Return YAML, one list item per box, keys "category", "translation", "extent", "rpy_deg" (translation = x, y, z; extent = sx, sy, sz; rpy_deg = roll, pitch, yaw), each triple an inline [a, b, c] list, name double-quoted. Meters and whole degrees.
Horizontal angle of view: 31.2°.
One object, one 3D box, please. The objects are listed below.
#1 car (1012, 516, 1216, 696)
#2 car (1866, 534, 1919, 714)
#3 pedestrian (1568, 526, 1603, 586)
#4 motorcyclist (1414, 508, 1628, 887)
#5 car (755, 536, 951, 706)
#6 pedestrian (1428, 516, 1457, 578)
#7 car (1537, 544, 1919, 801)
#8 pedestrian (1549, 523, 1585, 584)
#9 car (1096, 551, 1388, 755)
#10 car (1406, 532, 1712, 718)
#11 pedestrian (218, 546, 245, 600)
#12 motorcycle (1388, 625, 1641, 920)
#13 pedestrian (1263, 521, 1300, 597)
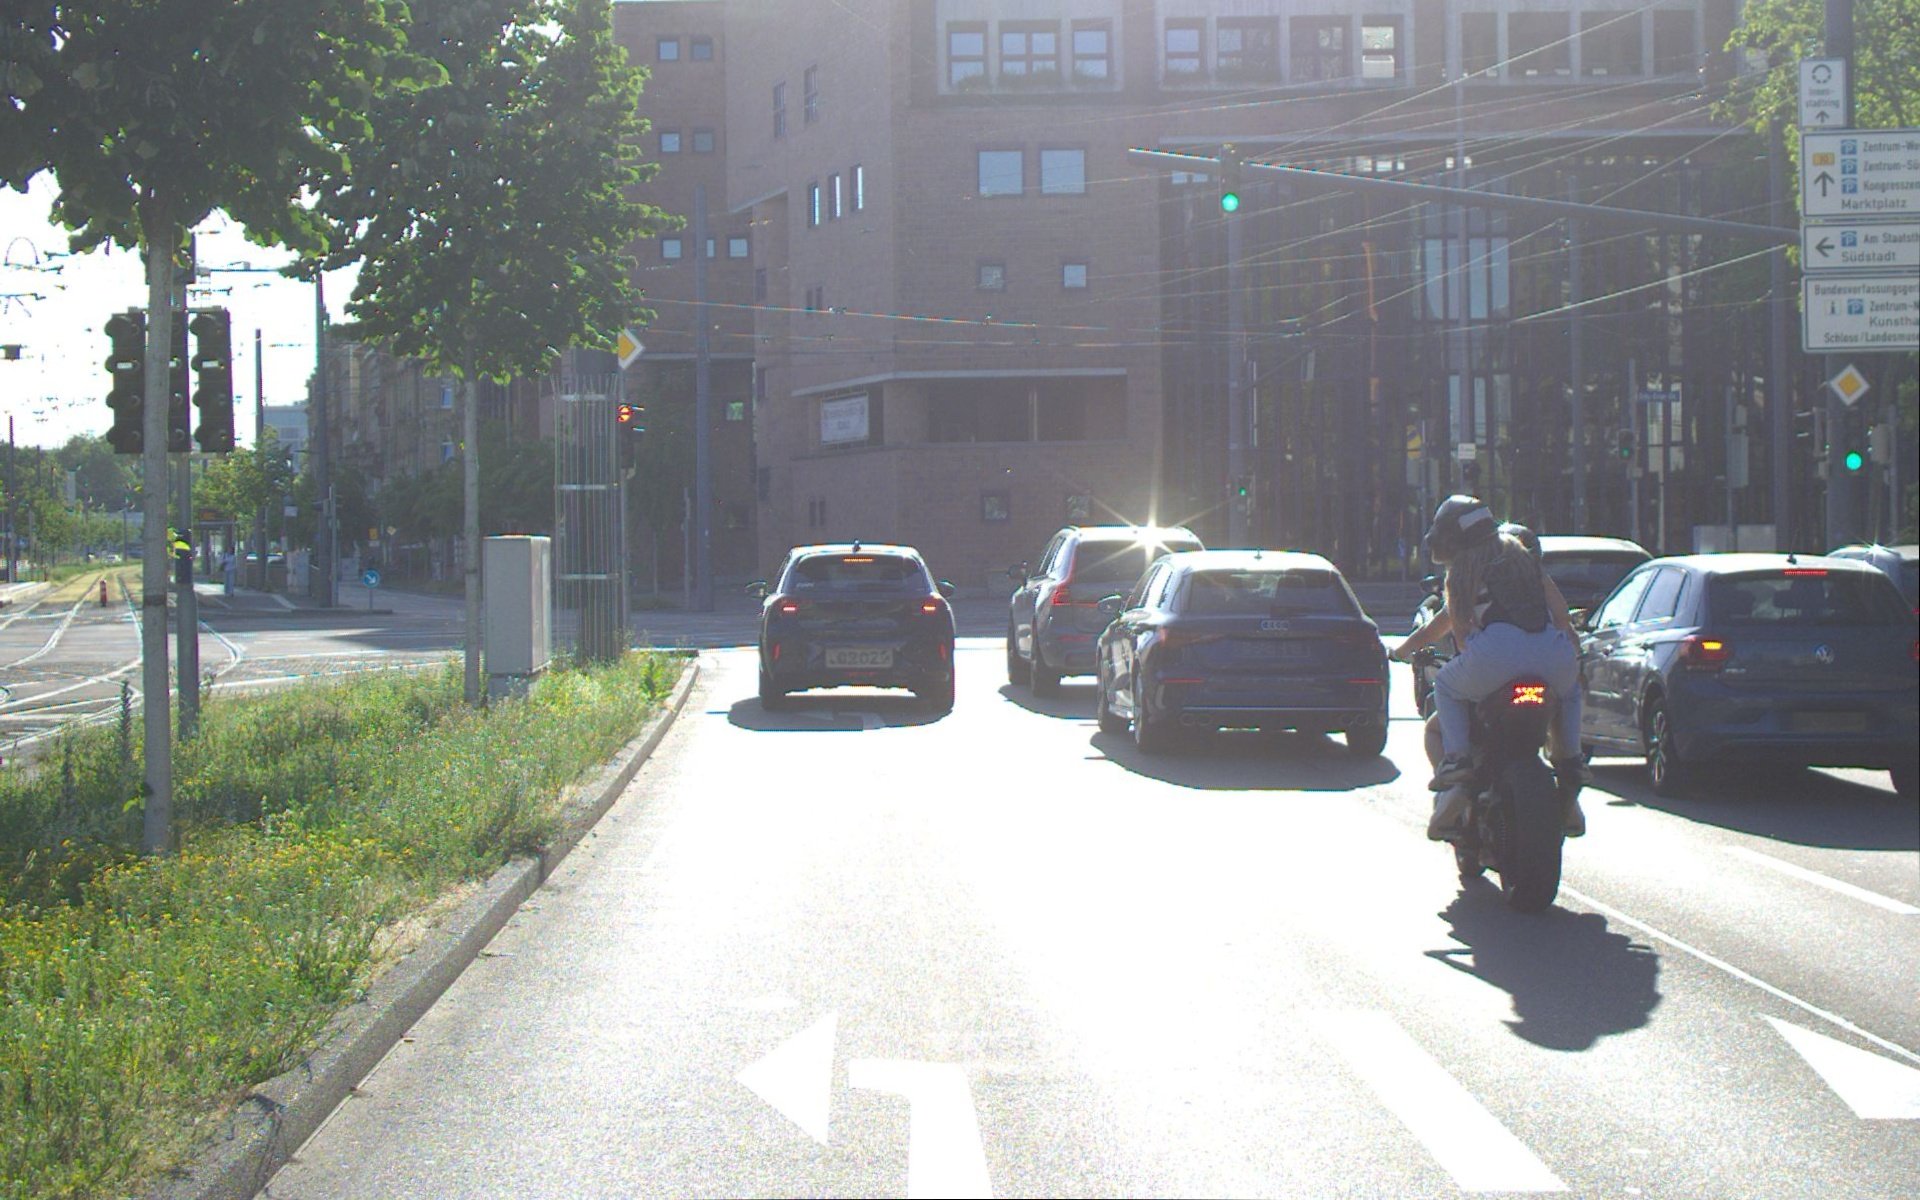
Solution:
- category: "car"
  translation: [1.459, 0.021, 33.810]
  extent: [1.737, 1.645, 4.000]
  rpy_deg: [-1, 1, -1]
- category: "car"
  translation: [9.845, 0.212, 31.792]
  extent: [1.993, 1.645, 4.000]
  rpy_deg: [-1, 1, 2]
- category: "pedestrian"
  translation: [17.003, -1.206, 93.477]
  extent: [0.900, 1.611, 0.560]
  rpy_deg: [-1, 1, 7]
- category: "motorcyclist"
  translation: [2.336, 0.383, 14.403]
  extent: [0.745, 1.525, 1.021]
  rpy_deg: [-1, 1, 2]
- category: "car"
  translation: [-0.946, 0.145, 31.244]
  extent: [1.649, 1.428, 4.000]
  rpy_deg: [-1, 1, -1]
- category: "pedestrian"
  translation: [11.032, -1.215, 78.630]
  extent: [0.529, 1.425, 0.598]
  rpy_deg: [-1, 1, -2]
- category: "car"
  translation: [4.947, 0.385, 21.809]
  extent: [1.807, 1.452, 4.000]
  rpy_deg: [0, 1, -1]
- category: "pedestrian"
  translation: [16.295, -1.253, 92.295]
  extent: [0.900, 1.611, 0.560]
  rpy_deg: [-1, 1, 7]
- category: "car"
  translation: [1.996, 0.332, 25.354]
  extent: [1.737, 1.345, 4.000]
  rpy_deg: [-1, 1, -1]
- category: "car"
  translation: [4.991, 0.156, 29.146]
  extent: [1.807, 1.452, 4.000]
  rpy_deg: [0, 1, -1]
- category: "pedestrian"
  translation: [-22.620, -0.841, 106.722]
  extent: [0.742, 1.634, 0.768]
  rpy_deg: [-1, 1, -15]
- category: "motorcycle"
  translation: [2.333, 0.696, 14.690]
  extent: [0.775, 1.111, 1.969]
  rpy_deg: [-1, 1, 1]
- category: "pedestrian"
  translation: [7.503, -0.953, 80.165]
  extent: [0.707, 1.753, 0.560]
  rpy_deg: [0, 1, 23]
